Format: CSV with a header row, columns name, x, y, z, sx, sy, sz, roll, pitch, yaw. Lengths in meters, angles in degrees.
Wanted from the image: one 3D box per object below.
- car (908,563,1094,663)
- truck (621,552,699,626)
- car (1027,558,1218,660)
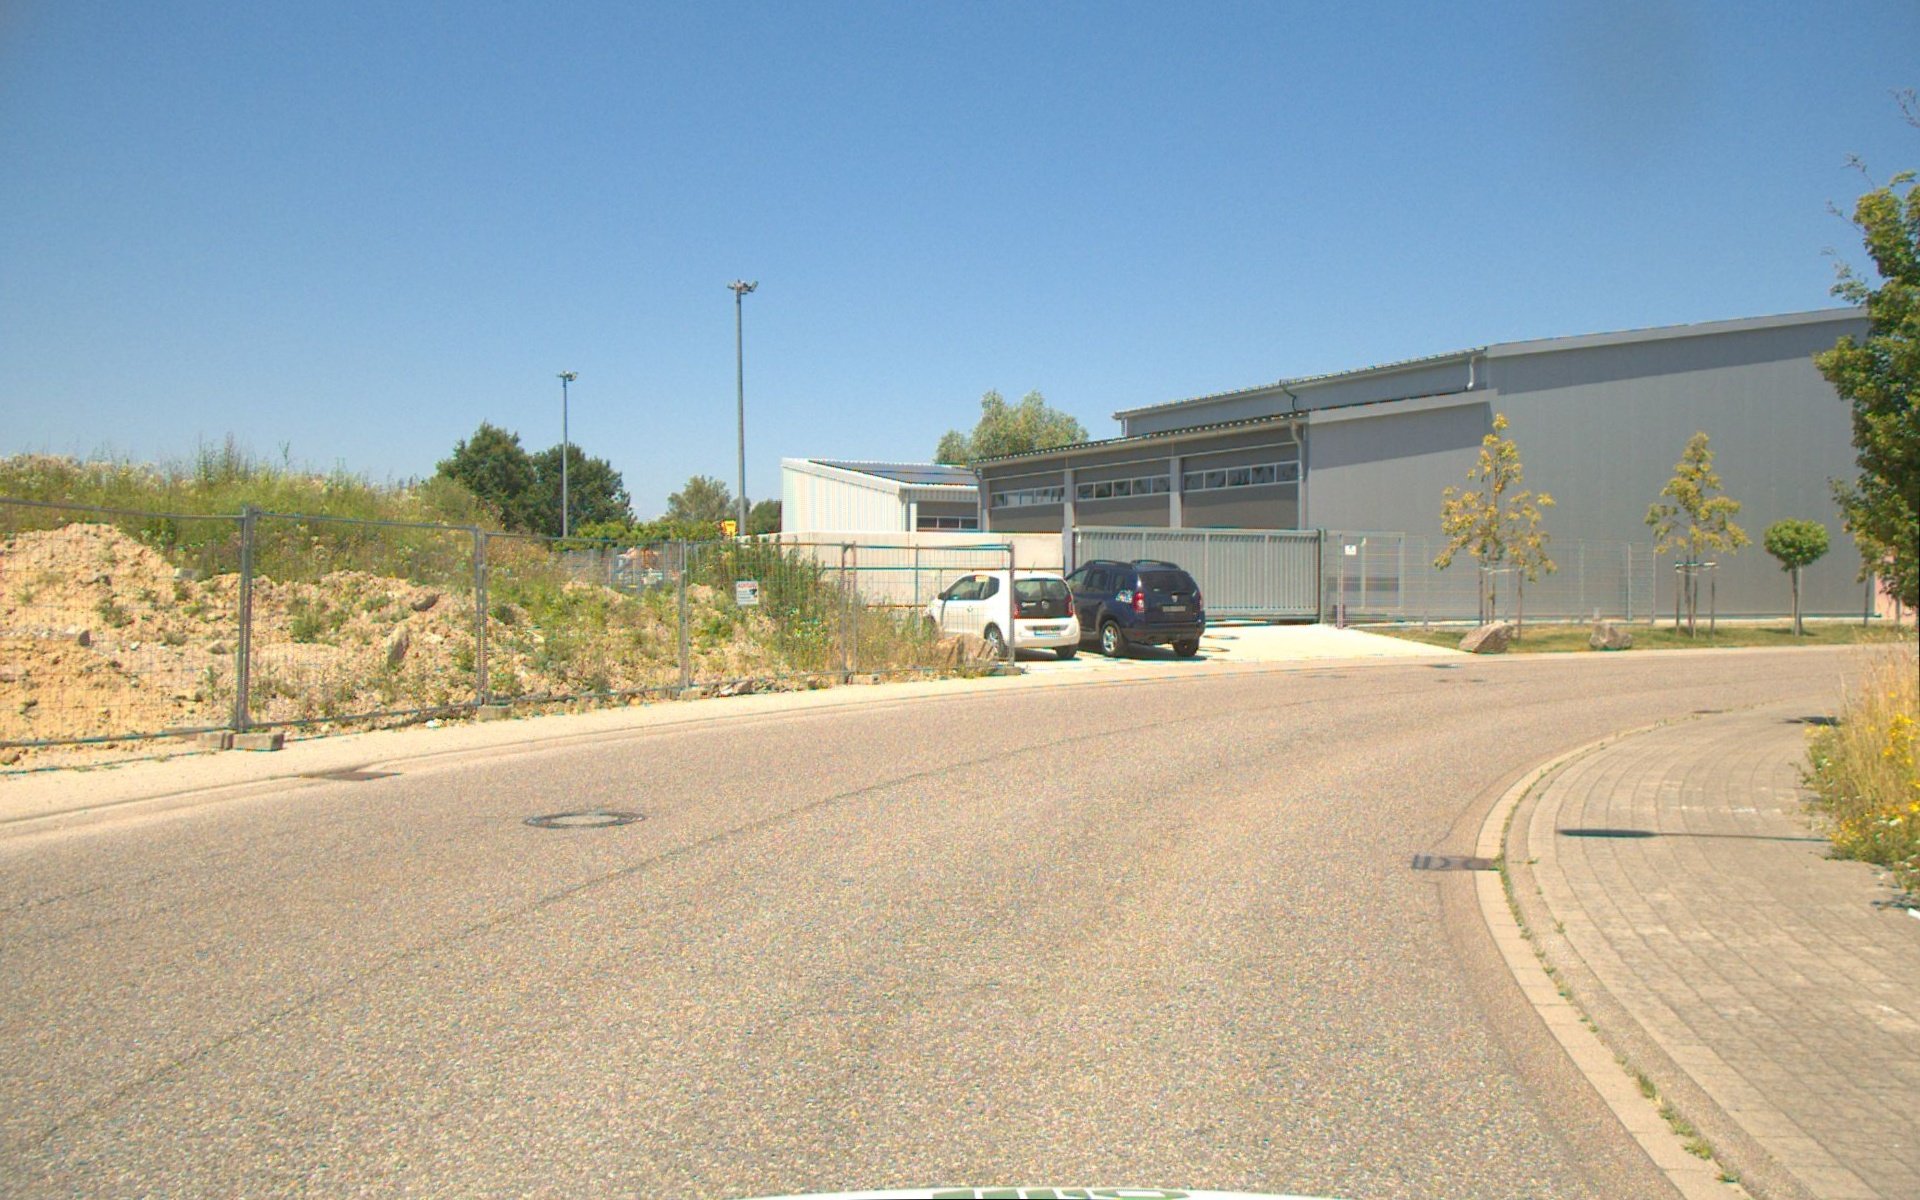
name,x,y,z,sx,sy,sz,roll,pitch,yaw
car,0.672,0.170,29.707,1.763,1.524,3.668,-1,4,-29
truck,-12.924,-0.458,71.008,1.971,3.037,4.603,-1,0,-28
car,2.931,0.101,30.604,1.775,1.636,3.668,-1,4,-29
